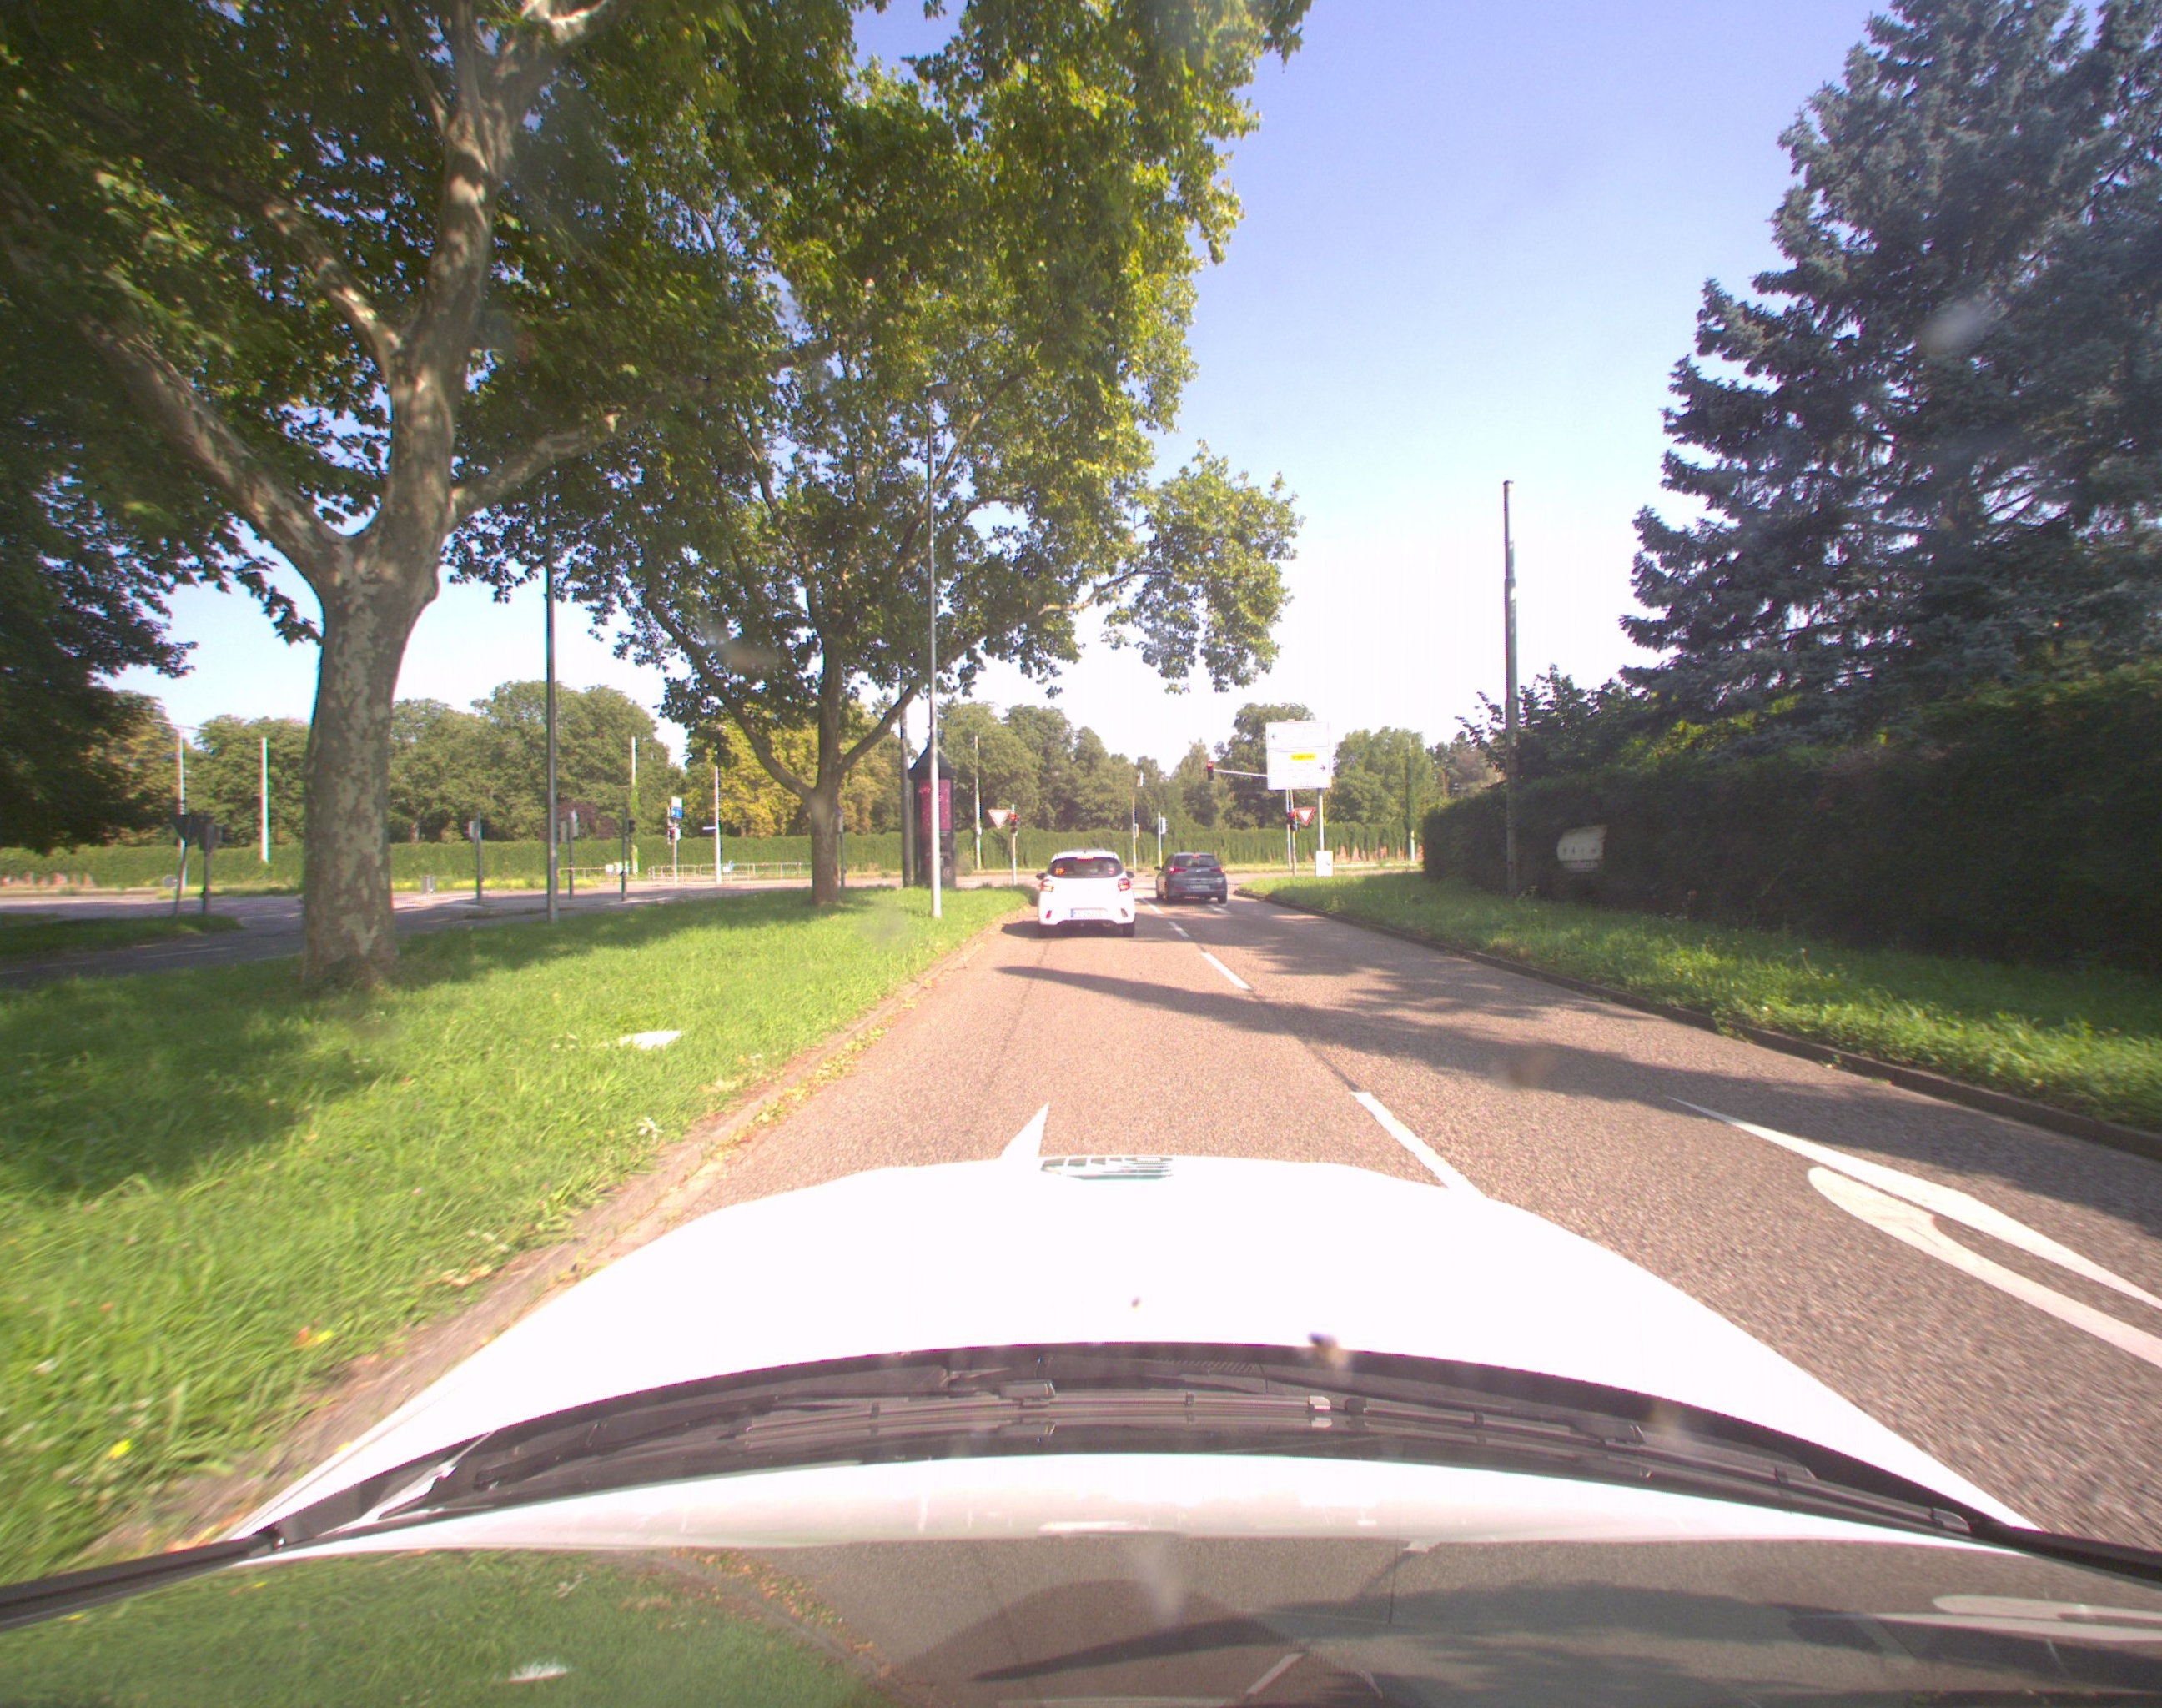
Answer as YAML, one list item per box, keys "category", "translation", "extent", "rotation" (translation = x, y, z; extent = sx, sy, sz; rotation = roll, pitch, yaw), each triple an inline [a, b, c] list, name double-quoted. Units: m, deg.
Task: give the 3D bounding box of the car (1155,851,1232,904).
- category: "car"
  translation: [3.261, 0.649, 24.290]
  extent: [1.791, 1.401, 4.000]
  rotation: [-1, 0, 0]

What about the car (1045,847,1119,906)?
- category: "car"
  translation: [0.111, 0.577, 22.480]
  extent: [1.679, 1.462, 3.855]
  rotation: [-1, 0, 5]

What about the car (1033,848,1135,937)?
- category: "car"
  translation: [0.125, 0.653, 15.573]
  extent: [1.681, 1.462, 4.002]
  rotation: [-1, 0, 2]
